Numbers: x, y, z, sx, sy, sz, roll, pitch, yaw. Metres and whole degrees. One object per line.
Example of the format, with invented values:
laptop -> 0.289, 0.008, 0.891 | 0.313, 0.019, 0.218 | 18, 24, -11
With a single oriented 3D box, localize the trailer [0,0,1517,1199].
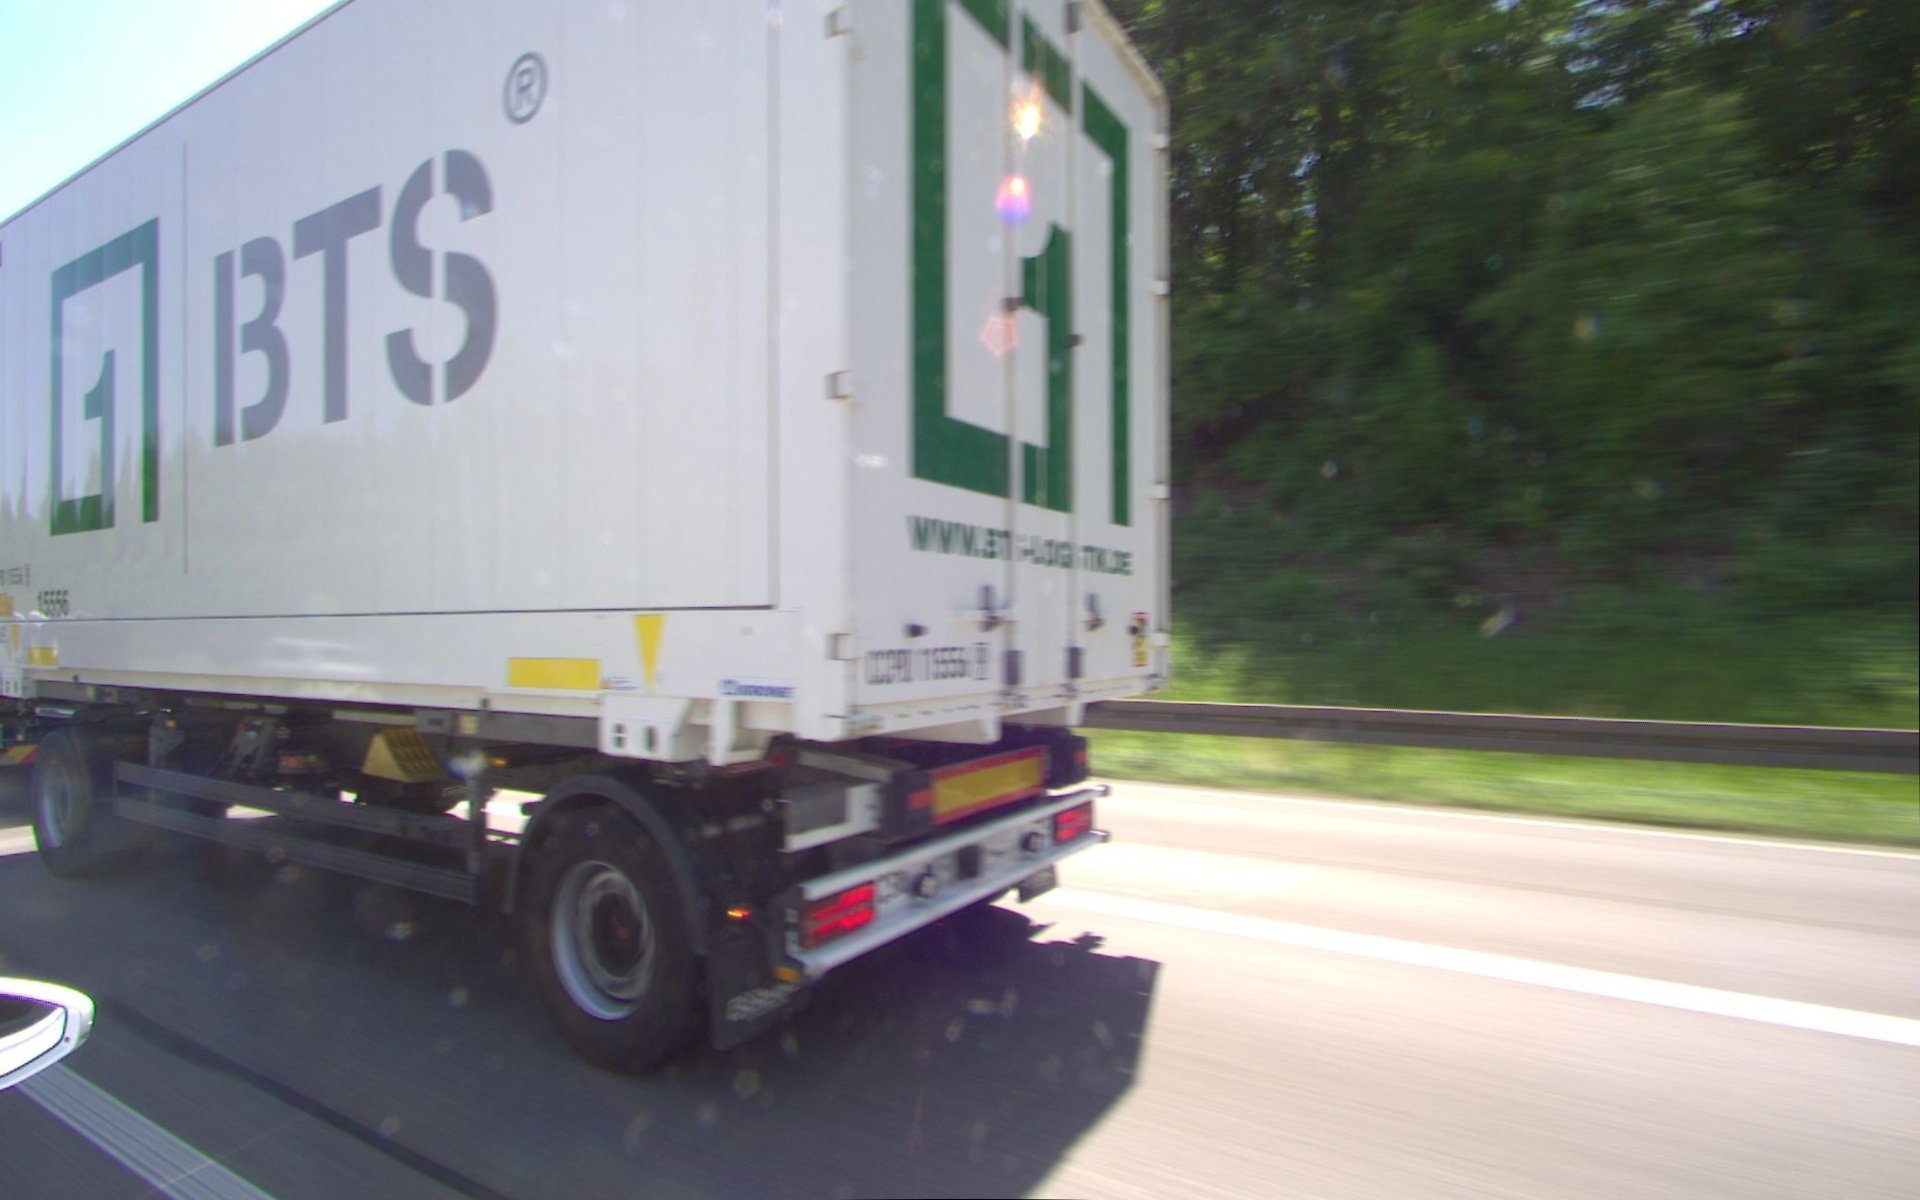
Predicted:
trailer -> -2.584, -0.534, 5.666 | 9.921, 4.229, 2.675 | -1, -1, 32

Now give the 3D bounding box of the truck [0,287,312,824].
truck -> -11.316, -0.244, 11.201 | 10.473, 4.112, 2.675 | -1, -1, 32
